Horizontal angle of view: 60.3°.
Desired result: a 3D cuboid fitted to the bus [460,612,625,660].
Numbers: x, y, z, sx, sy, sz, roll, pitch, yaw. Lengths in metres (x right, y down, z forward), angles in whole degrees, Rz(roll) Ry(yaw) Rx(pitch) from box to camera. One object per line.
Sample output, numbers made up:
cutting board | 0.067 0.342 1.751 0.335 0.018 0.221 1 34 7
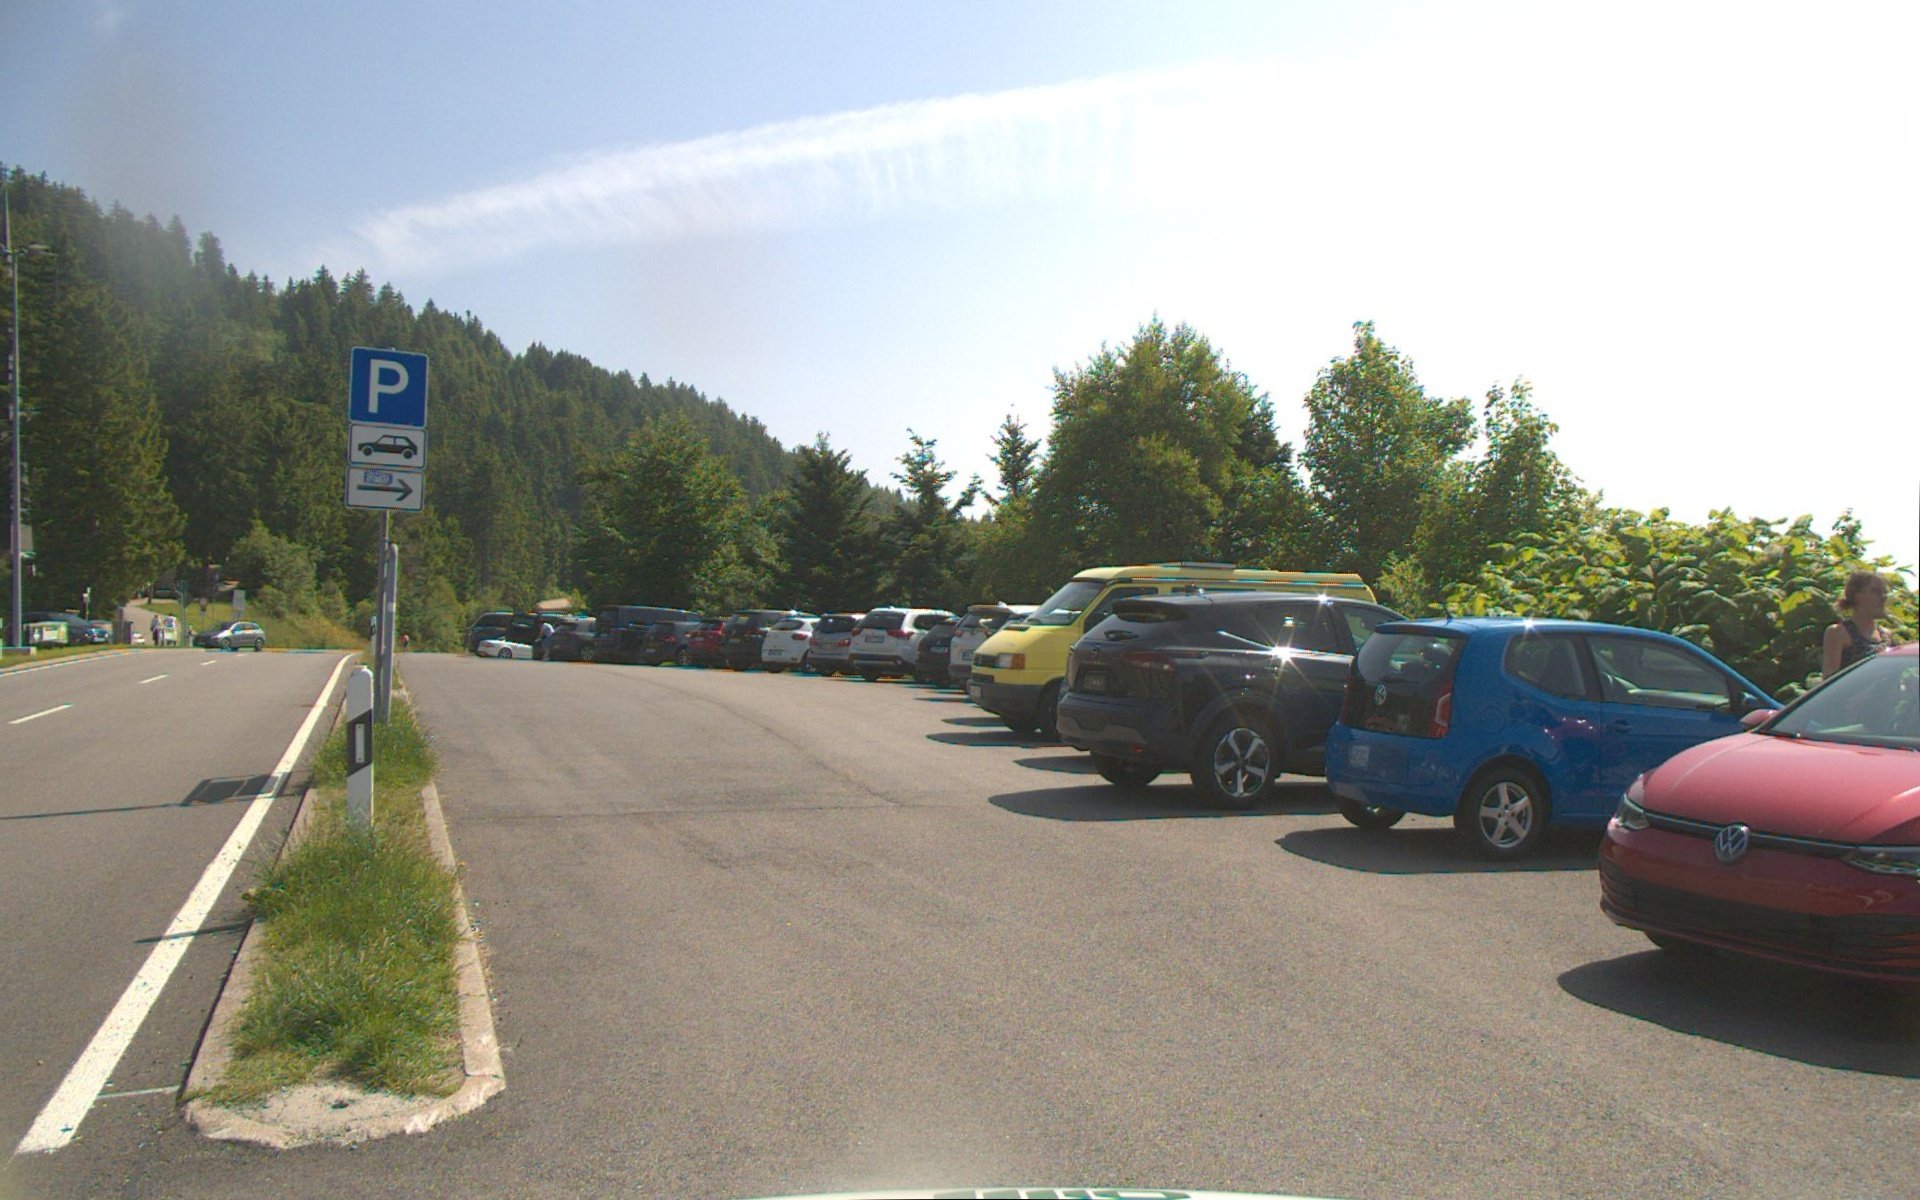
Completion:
bus | -33.909 2.881 134.659 12.603 3.641 2.980 1 0 -3

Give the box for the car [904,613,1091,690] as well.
car | 0.862 1.126 35.744 1.861 1.487 4.027 0 -3 42

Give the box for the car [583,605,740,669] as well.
car | -9.825 1.238 54.708 4.725 1.913 1.939 4 -3 -39

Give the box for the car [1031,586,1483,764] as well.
car | 2.916 0.735 16.386 4.084 1.617 1.697 2 -1 -17

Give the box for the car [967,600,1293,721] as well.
car | 2.419 0.797 23.508 4.291 1.513 1.800 -1 1 -23

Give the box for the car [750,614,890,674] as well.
car | -3.777 1.225 45.242 1.731 1.502 3.988 1 -2 33

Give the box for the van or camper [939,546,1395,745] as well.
van or camper | 2.440 0.557 19.647 5.010 2.049 1.873 3 -1 -18

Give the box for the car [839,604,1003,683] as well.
car | -0.859 1.058 39.166 1.824 1.724 4.215 1 -2 33

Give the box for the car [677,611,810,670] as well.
car | -6.510 1.257 50.199 1.824 1.618 3.988 1 -2 33

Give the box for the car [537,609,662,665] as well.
car | -13.118 1.365 60.301 1.965 1.691 3.974 0 -6 43

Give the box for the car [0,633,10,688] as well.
car | -29.974 1.783 48.543 3.967 1.595 1.738 0 -1 26

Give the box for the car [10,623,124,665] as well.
car | -36.191 1.804 67.015 4.110 1.663 1.789 -1 -2 20

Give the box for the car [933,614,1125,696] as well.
car | 1.429 1.123 33.211 3.774 1.484 1.637 4 -2 -42

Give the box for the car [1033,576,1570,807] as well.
car | 2.778 0.698 13.459 3.936 1.642 1.901 2 -1 -25

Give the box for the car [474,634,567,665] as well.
car | -23.204 2.627 87.449 4.418 1.321 1.562 6 -4 -36

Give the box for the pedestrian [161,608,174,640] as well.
pedestrian | -45.669 1.358 95.328 0.644 1.830 0.638 1 0 -26

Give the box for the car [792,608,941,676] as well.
car | -2.337 1.113 42.450 1.782 1.576 3.988 1 -2 33

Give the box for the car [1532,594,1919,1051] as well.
car | 4.638 0.819 7.306 3.943 1.536 1.825 2 0 -29

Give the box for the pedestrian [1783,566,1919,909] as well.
pedestrian | 4.834 0.714 8.861 0.498 1.755 0.561 3 -2 -32

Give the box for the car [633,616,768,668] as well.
car | -8.176 1.342 52.366 1.714 1.440 3.974 0 -3 43

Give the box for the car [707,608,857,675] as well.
car | -4.987 1.203 46.962 1.949 1.724 4.261 1 -2 33

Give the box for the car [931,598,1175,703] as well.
car | 1.694 0.913 29.337 4.145 1.678 1.865 4 -3 -40

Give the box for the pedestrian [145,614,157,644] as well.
pedestrian | -46.375 1.657 94.811 0.644 1.696 0.637 0 -3 -26

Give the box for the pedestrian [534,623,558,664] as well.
pedestrian | -14.597 1.534 58.334 0.760 1.427 0.667 -1 0 -13

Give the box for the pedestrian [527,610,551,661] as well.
pedestrian | -15.352 1.295 60.326 0.566 1.792 0.633 2 -3 4

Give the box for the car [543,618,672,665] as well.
car | -12.205 1.451 57.373 3.963 1.468 1.812 4 -3 -41

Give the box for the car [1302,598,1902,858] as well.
car | 4.294 0.836 11.162 3.526 1.522 1.639 3 0 -19

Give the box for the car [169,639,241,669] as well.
car | -40.224 2.880 88.179 1.548 1.453 3.371 -1 1 23
